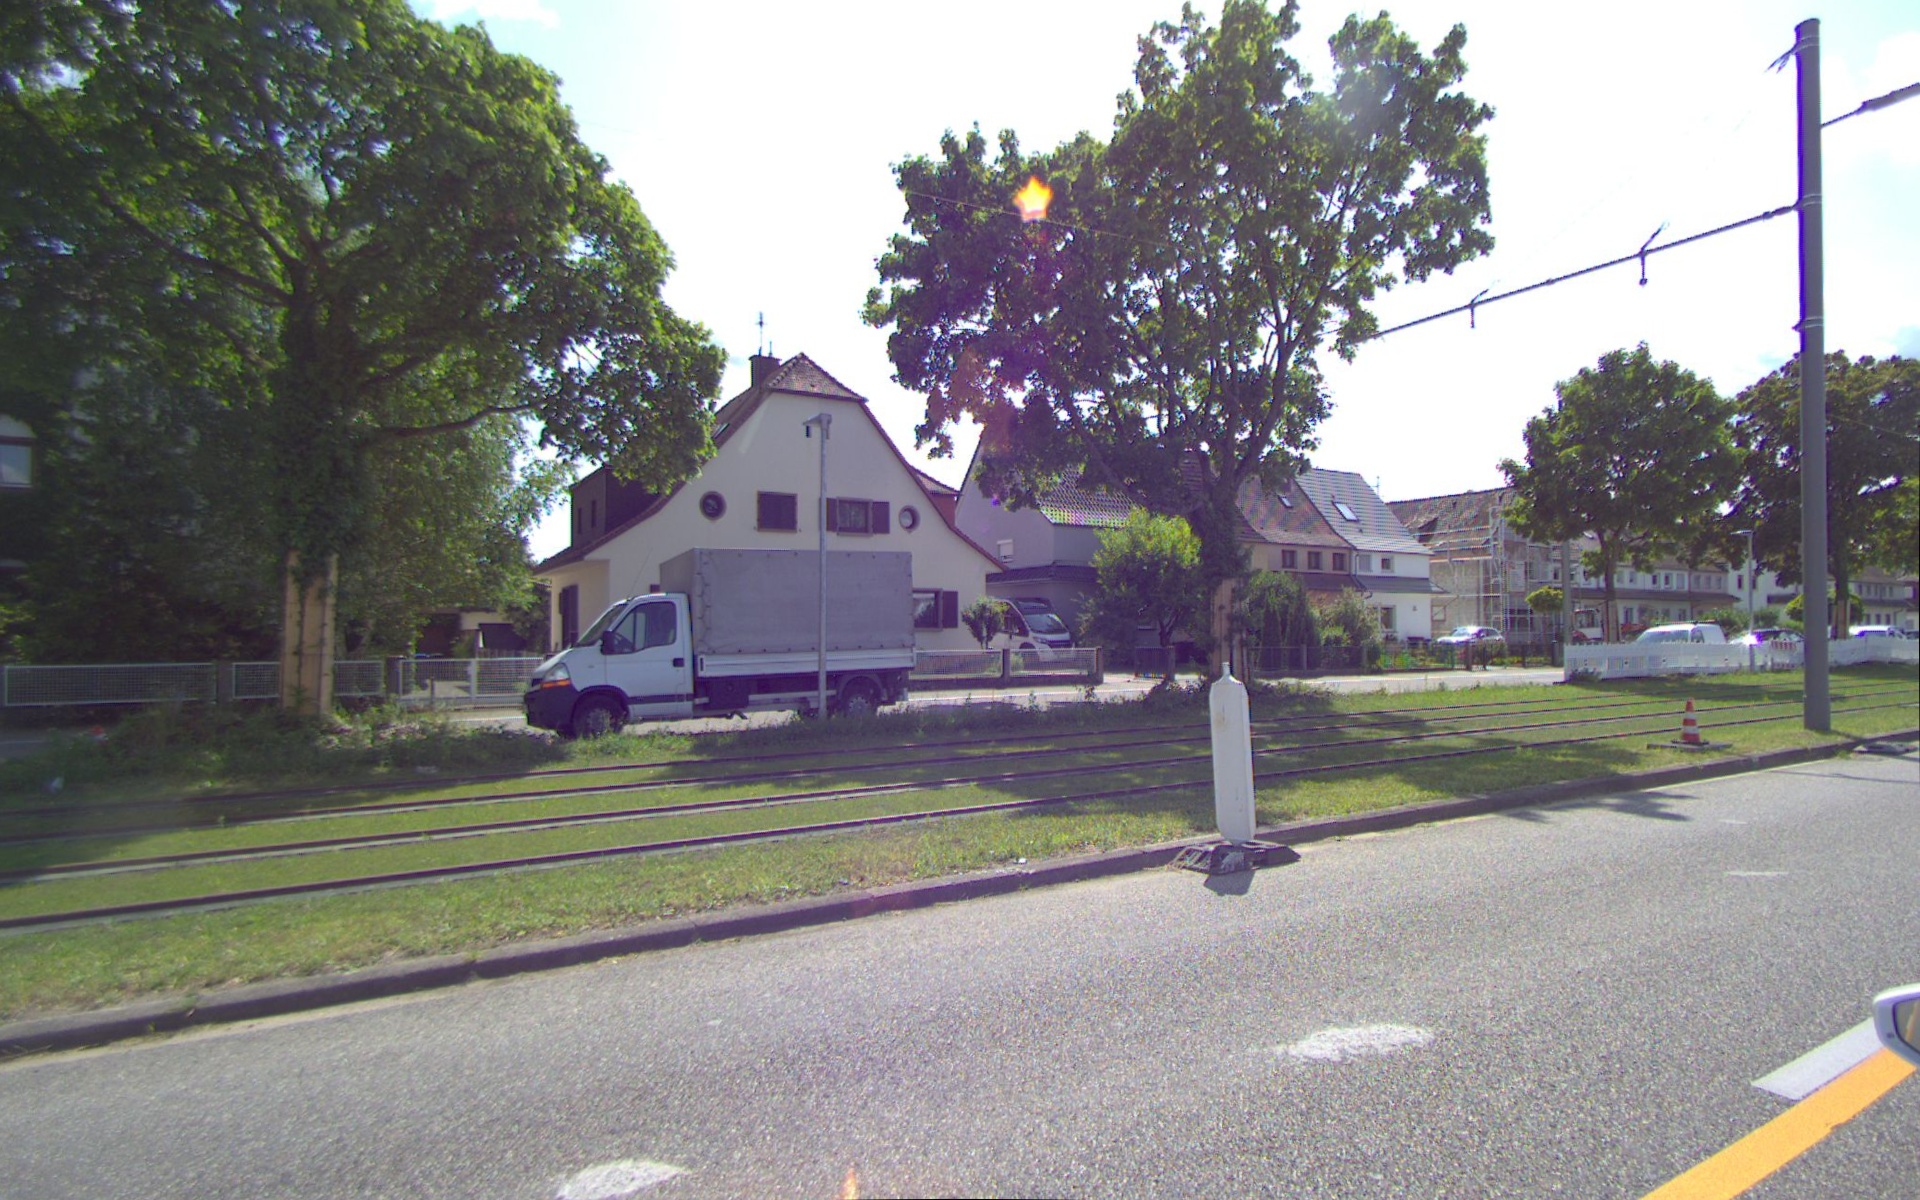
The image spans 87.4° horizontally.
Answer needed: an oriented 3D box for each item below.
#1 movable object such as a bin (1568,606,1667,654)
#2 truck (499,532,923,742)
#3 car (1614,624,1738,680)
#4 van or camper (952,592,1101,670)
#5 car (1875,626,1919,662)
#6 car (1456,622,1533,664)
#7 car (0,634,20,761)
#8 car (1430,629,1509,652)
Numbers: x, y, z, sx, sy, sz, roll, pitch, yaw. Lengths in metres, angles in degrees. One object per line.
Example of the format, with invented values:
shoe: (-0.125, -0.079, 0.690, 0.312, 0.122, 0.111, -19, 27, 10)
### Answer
movable object such as a bin: (35.156, 1.622, 53.748, 4.282, 2.481, 1.782, -2, -2, 37)
truck: (-3.789, 0.587, 15.909, 6.206, 2.803, 1.984, 0, -5, -32)
car: (23.941, 1.741, 33.582, 3.955, 1.772, 1.984, 2, -3, -32)
van or camper: (2.498, 1.135, 39.659, 2.673, 2.675, 6.052, 1, 1, -34)
car: (44.693, 2.069, 46.799, 3.955, 1.627, 1.984, 2, -3, -32)
car: (23.351, 1.875, 43.849, 2.996, 1.744, 1.676, 2, -3, -32)
car: (-12.632, 1.069, 10.353, 3.958, 1.472, 1.982, 2, -3, -34)
car: (24.417, 1.936, 48.073, 3.939, 1.066, 1.674, 2, -3, -34)
